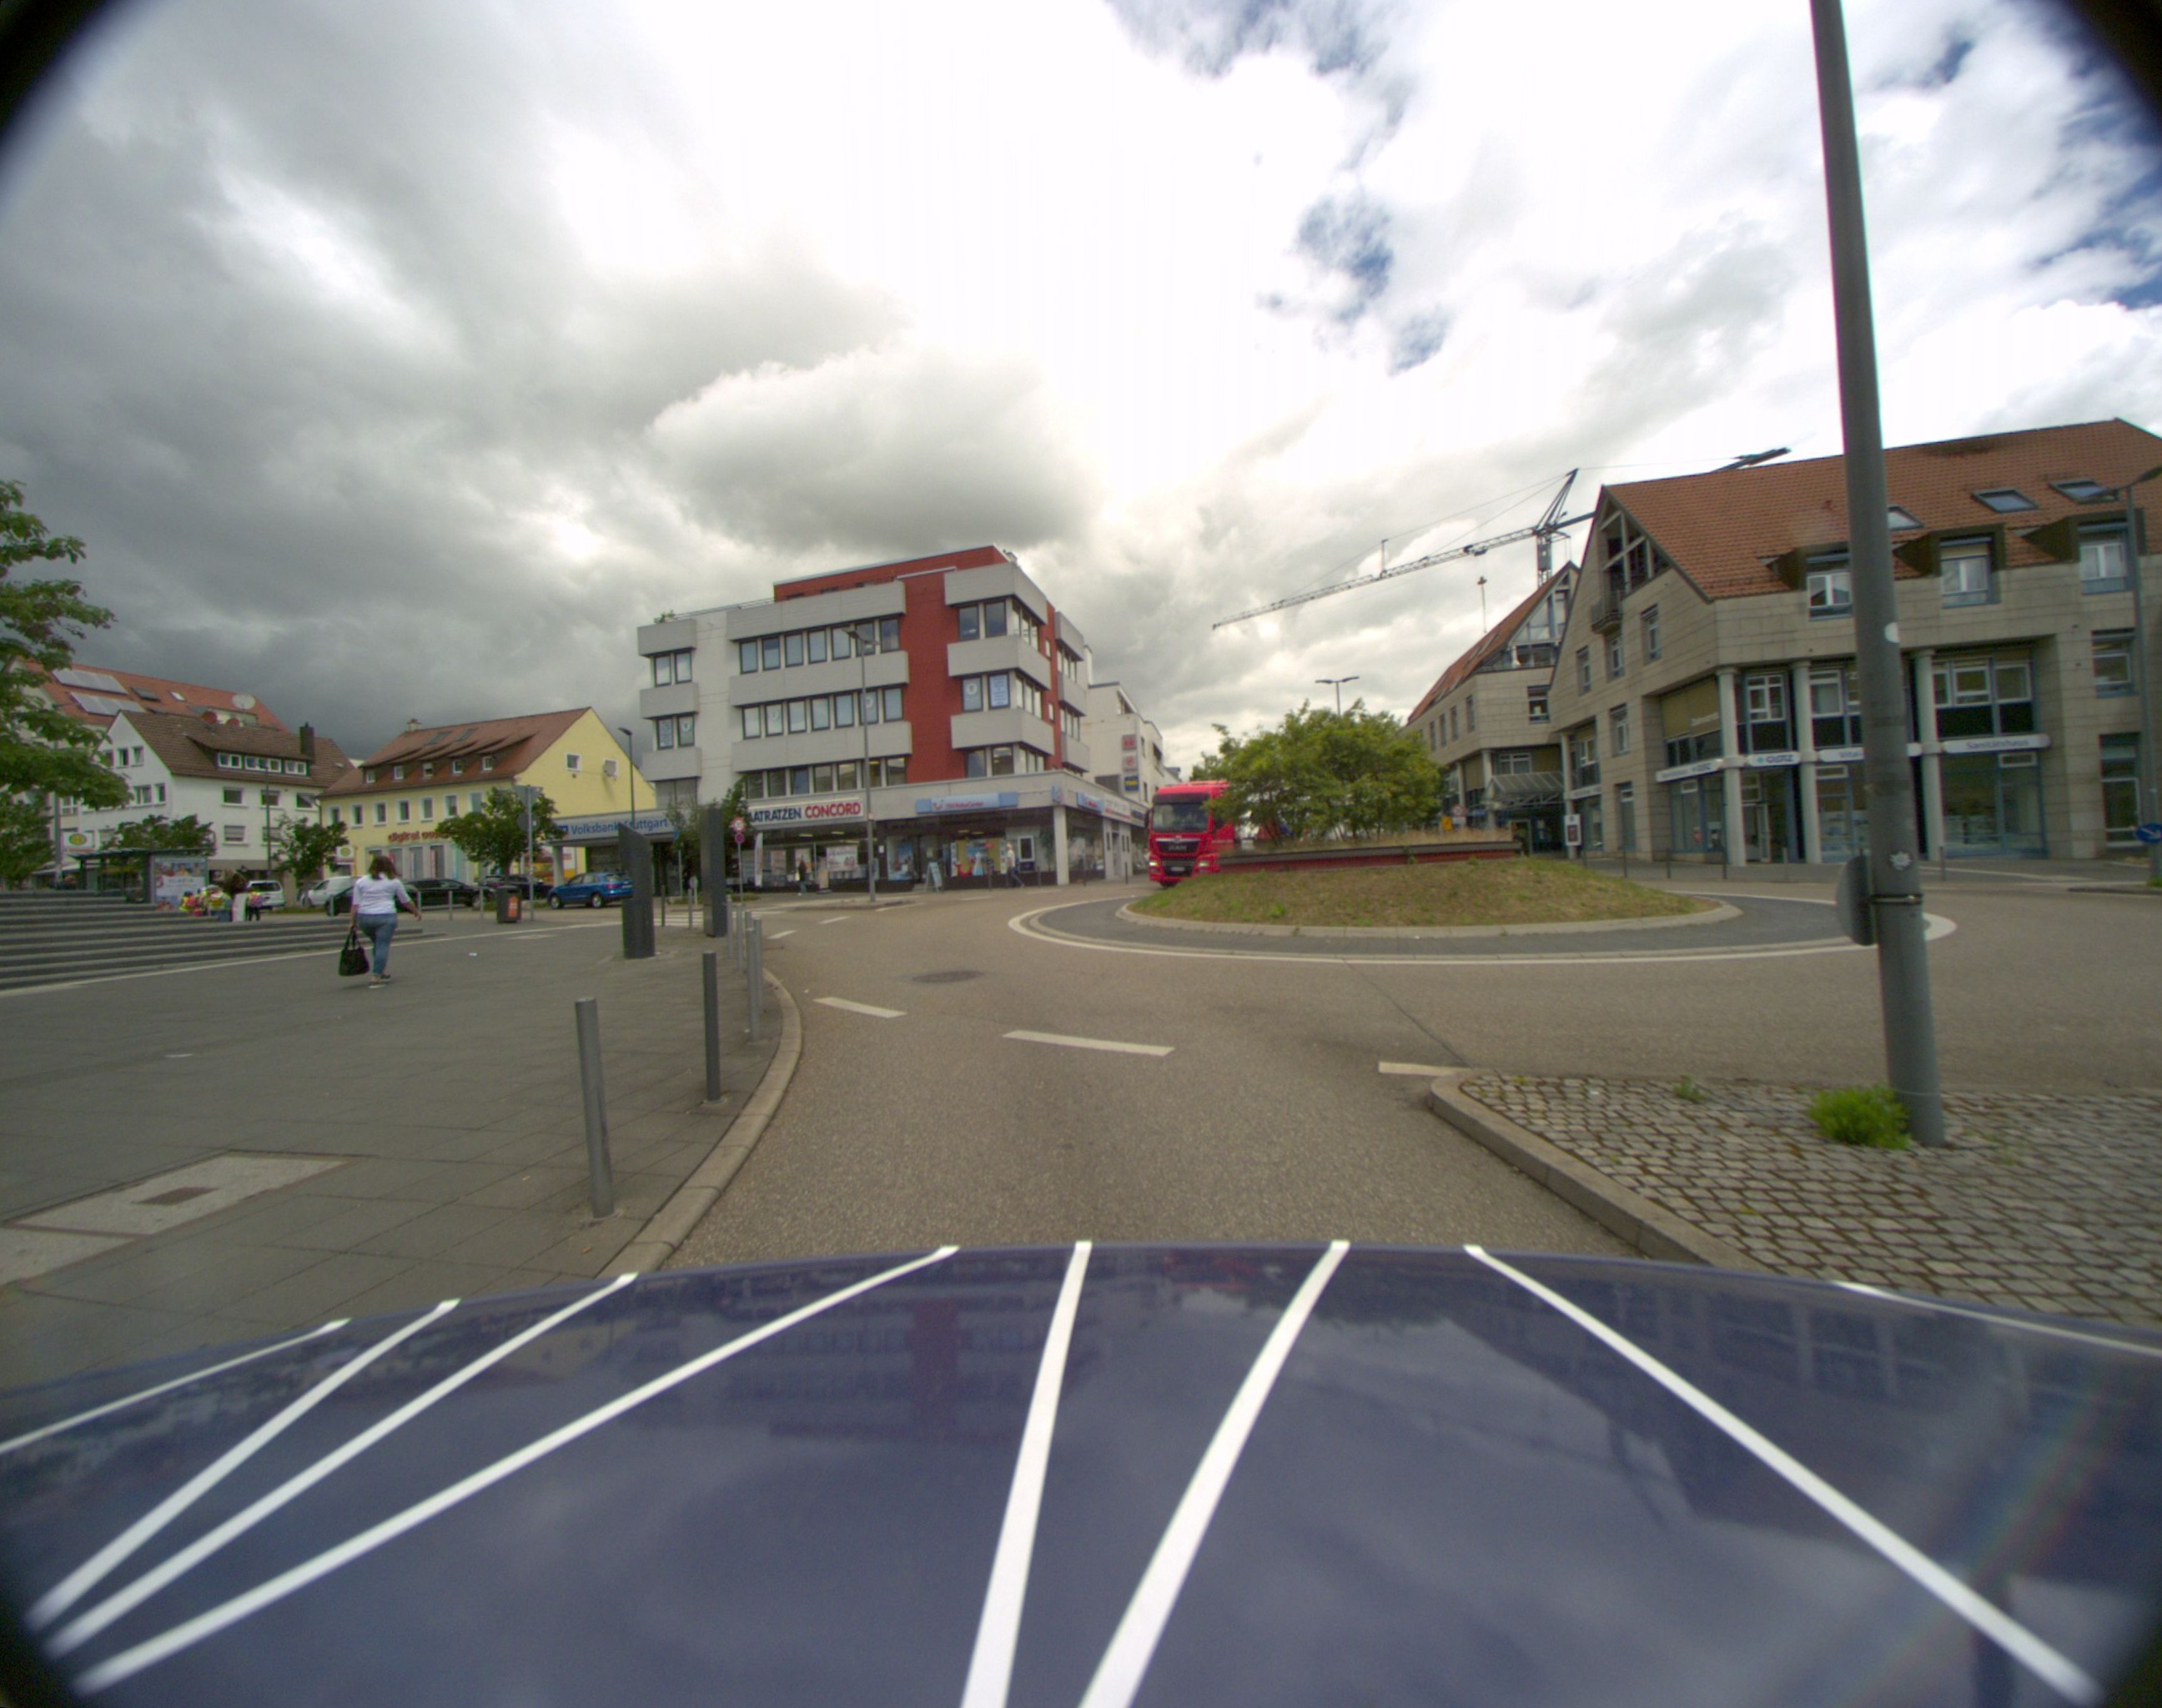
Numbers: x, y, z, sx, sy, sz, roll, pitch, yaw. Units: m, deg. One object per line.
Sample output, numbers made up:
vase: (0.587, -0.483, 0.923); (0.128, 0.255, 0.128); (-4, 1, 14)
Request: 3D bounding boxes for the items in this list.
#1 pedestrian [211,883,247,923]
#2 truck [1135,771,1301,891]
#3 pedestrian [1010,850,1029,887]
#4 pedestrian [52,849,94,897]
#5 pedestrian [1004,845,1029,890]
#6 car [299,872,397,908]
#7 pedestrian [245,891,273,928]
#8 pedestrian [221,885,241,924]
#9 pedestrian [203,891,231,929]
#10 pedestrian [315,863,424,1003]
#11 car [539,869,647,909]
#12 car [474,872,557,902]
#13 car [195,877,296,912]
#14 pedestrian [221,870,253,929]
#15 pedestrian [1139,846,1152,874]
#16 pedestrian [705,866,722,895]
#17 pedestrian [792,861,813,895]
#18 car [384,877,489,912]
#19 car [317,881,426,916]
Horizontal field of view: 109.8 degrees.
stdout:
pedestrian: (-27.801, 1.597, 24.798); (0.600, 1.295, 0.432); (0, -3, -17)
truck: (5.948, -0.805, 30.671); (2.959, 4.004, 10.615); (-1, 0, 31)
pedestrian: (-2.695, 0.632, 33.279); (0.607, 1.594, 0.568); (-3, 0, -20)
pedestrian: (-34.828, 0.643, 26.257); (0.685, 1.627, 0.802); (-2, -1, 31)
pedestrian: (-2.729, 0.554, 32.291); (0.679, 1.864, 0.807); (-2, 1, 27)
car: (-41.145, 2.014, 42.669); (4.468, 1.803, 1.763); (-2, 1, 14)
pedestrian: (-26.183, 1.764, 24.194); (0.390, 1.165, 0.477); (-2, -2, 20)
pedestrian: (-26.591, 1.565, 23.765); (0.510, 1.191, 0.392); (-3, -3, 42)
pedestrian: (-26.096, 1.693, 22.947); (0.382, 1.141, 0.441); (-2, -2, 22)
pedestrian: (-9.317, 0.999, 9.982); (0.707, 1.735, 0.775); (-2, 0, -12)
car: (-22.104, 1.581, 34.406); (4.322, 1.591, 1.701); (-2, 2, 19)
car: (-33.139, 1.915, 44.645); (1.665, 1.549, 3.643); (-2, 0, 15)
car: (-44.628, 2.164, 40.591); (4.343, 1.662, 1.663); (-2, 1, 13)
pedestrian: (-26.117, 1.399, 23.515); (0.434, 1.811, 0.542); (-2, -2, 24)
pedestrian: (4.042, 0.373, 47.465); (0.680, 1.745, 0.511); (-2, 1, 10)
pedestrian: (-21.557, 1.563, 44.616); (0.586, 1.694, 0.645); (-4, -2, 7)
pedestrian: (-13.161, 1.125, 35.882); (0.637, 1.579, 0.589); (-2, 1, 16)
car: (-32.574, 1.991, 38.453); (1.890, 1.515, 3.743); (1, 1, 39)
car: (-31.731, 2.006, 34.000); (4.110, 1.411, 1.706); (-1, 1, 17)
